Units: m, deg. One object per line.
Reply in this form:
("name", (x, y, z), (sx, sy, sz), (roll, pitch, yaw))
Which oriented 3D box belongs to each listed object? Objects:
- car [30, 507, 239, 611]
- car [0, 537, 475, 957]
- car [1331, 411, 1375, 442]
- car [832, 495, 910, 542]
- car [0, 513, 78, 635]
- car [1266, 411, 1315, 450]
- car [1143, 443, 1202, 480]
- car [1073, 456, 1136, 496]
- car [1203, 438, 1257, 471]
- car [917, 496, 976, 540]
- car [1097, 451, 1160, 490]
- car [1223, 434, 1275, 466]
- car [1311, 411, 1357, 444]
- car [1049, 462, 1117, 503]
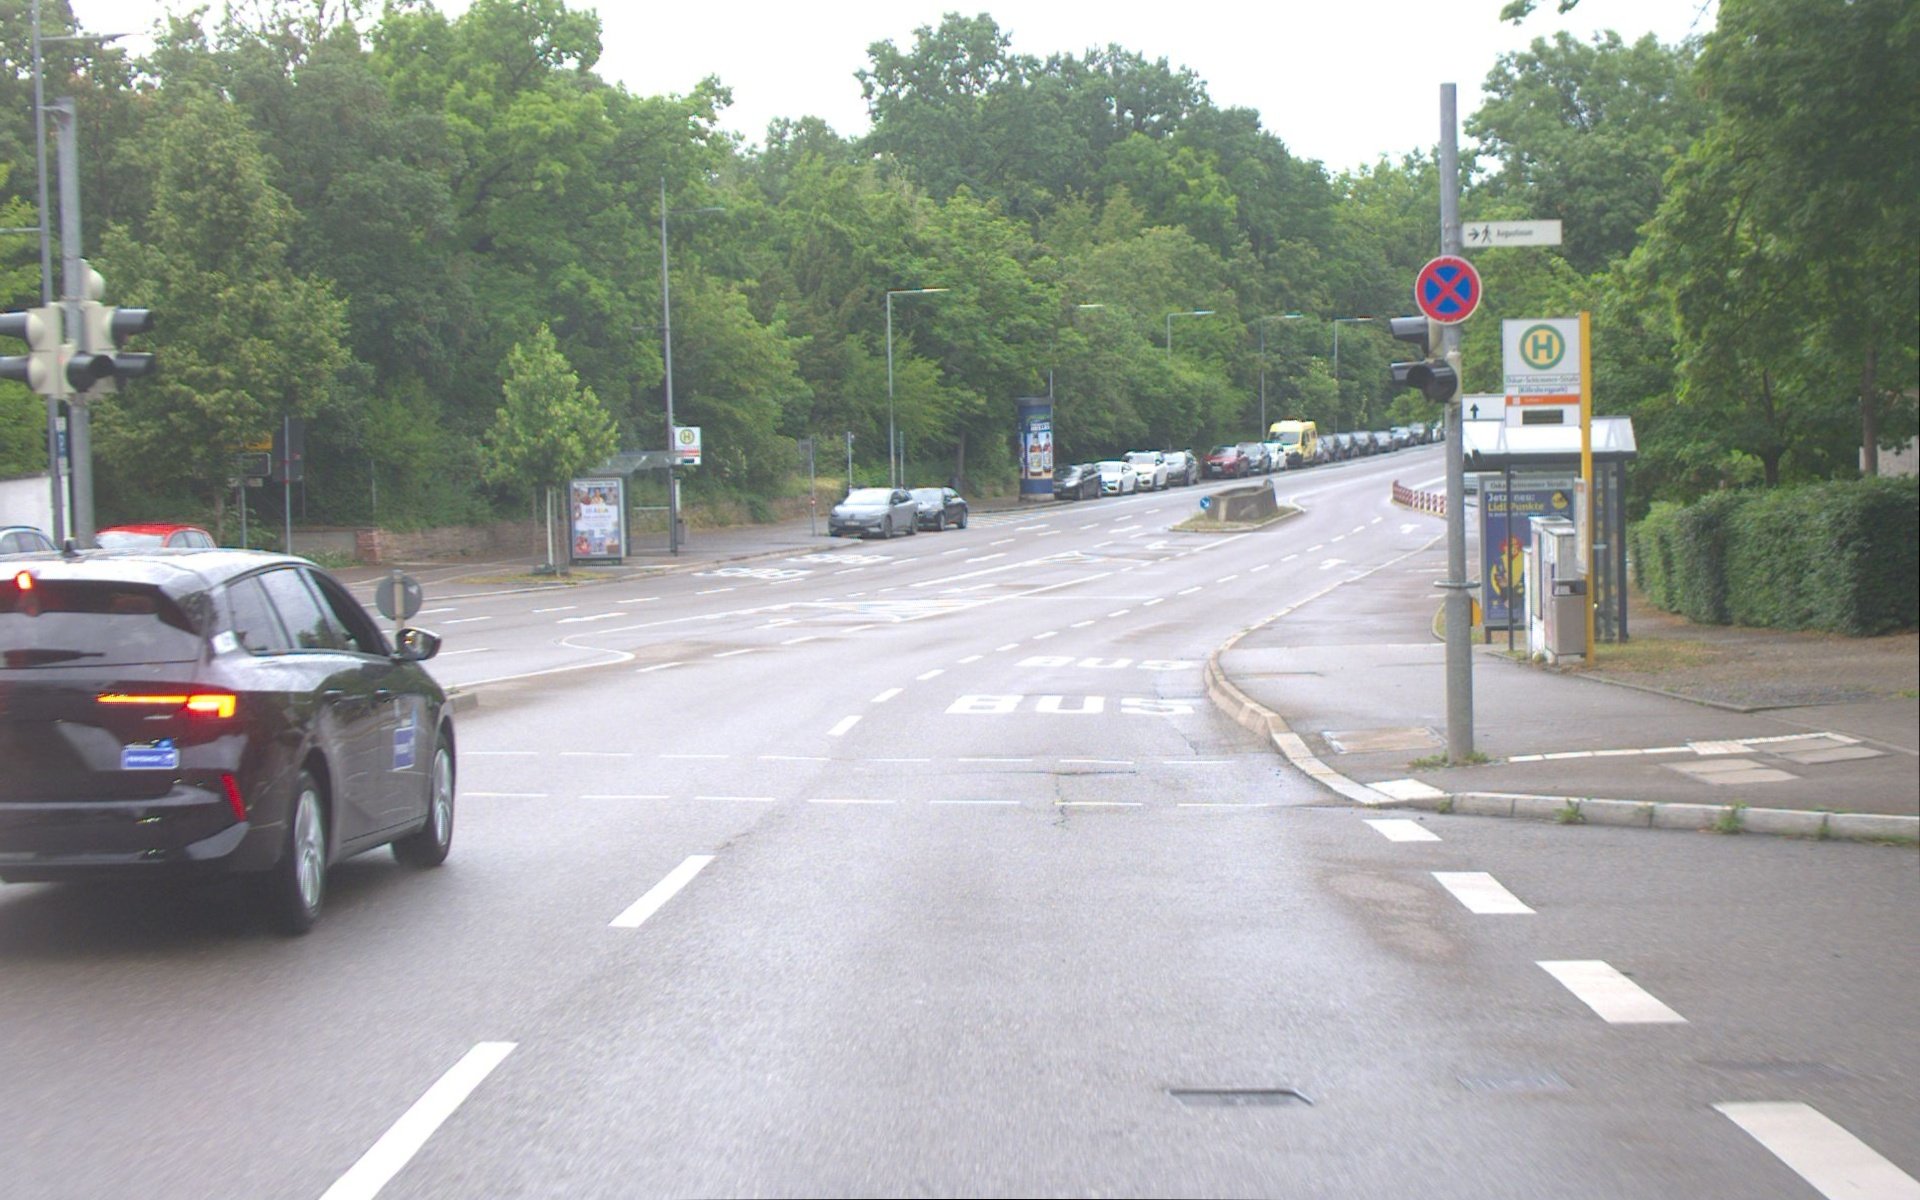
("car", (-13.221, -0.697, 55.302), (1.875, 1.569, 4.222), (1, 2, 7))
("car", (-3.248, 0.465, 14.061), (1.799, 1.426, 4.520), (0, 1, 1))
("car", (23.143, -10.202, 202.209), (1.957, 1.647, 3.998), (2, 5, 15))
("car", (-2.811, -2.581, 109.230), (1.714, 1.455, 3.749), (0, 1, 11))
("car", (-14.060, -0.379, 48.049), (1.854, 1.634, 4.092), (2, 2, 9))
("car", (18.134, -9.325, 188.644), (1.957, 1.930, 3.998), (2, 5, 15))
("car", (10.003, -6.508, 161.435), (1.957, 1.480, 3.998), (2, 5, 15))
("car", (6.256, -5.346, 148.363), (1.860, 1.480, 3.998), (2, 5, 15))
("car", (13.634, -7.345, 173.450), (1.957, 1.480, 3.998), (2, 5, 15))
("car", (-0.453, -2.745, 115.117), (1.417, 1.419, 3.121), (0, 1, 10))
("car", (7.529, -5.781, 153.251), (1.957, 1.480, 3.998), (2, 5, 15))
("car", (15.020, -7.807, 178.644), (1.957, 1.480, 3.998), (2, 5, 15))
("car", (21.295, -9.833, 195.770), (1.957, 1.647, 3.998), (2, 5, 15))
("car", (5.157, -4.914, 143.528), (1.957, 1.480, 3.998), (2, 5, 15))
